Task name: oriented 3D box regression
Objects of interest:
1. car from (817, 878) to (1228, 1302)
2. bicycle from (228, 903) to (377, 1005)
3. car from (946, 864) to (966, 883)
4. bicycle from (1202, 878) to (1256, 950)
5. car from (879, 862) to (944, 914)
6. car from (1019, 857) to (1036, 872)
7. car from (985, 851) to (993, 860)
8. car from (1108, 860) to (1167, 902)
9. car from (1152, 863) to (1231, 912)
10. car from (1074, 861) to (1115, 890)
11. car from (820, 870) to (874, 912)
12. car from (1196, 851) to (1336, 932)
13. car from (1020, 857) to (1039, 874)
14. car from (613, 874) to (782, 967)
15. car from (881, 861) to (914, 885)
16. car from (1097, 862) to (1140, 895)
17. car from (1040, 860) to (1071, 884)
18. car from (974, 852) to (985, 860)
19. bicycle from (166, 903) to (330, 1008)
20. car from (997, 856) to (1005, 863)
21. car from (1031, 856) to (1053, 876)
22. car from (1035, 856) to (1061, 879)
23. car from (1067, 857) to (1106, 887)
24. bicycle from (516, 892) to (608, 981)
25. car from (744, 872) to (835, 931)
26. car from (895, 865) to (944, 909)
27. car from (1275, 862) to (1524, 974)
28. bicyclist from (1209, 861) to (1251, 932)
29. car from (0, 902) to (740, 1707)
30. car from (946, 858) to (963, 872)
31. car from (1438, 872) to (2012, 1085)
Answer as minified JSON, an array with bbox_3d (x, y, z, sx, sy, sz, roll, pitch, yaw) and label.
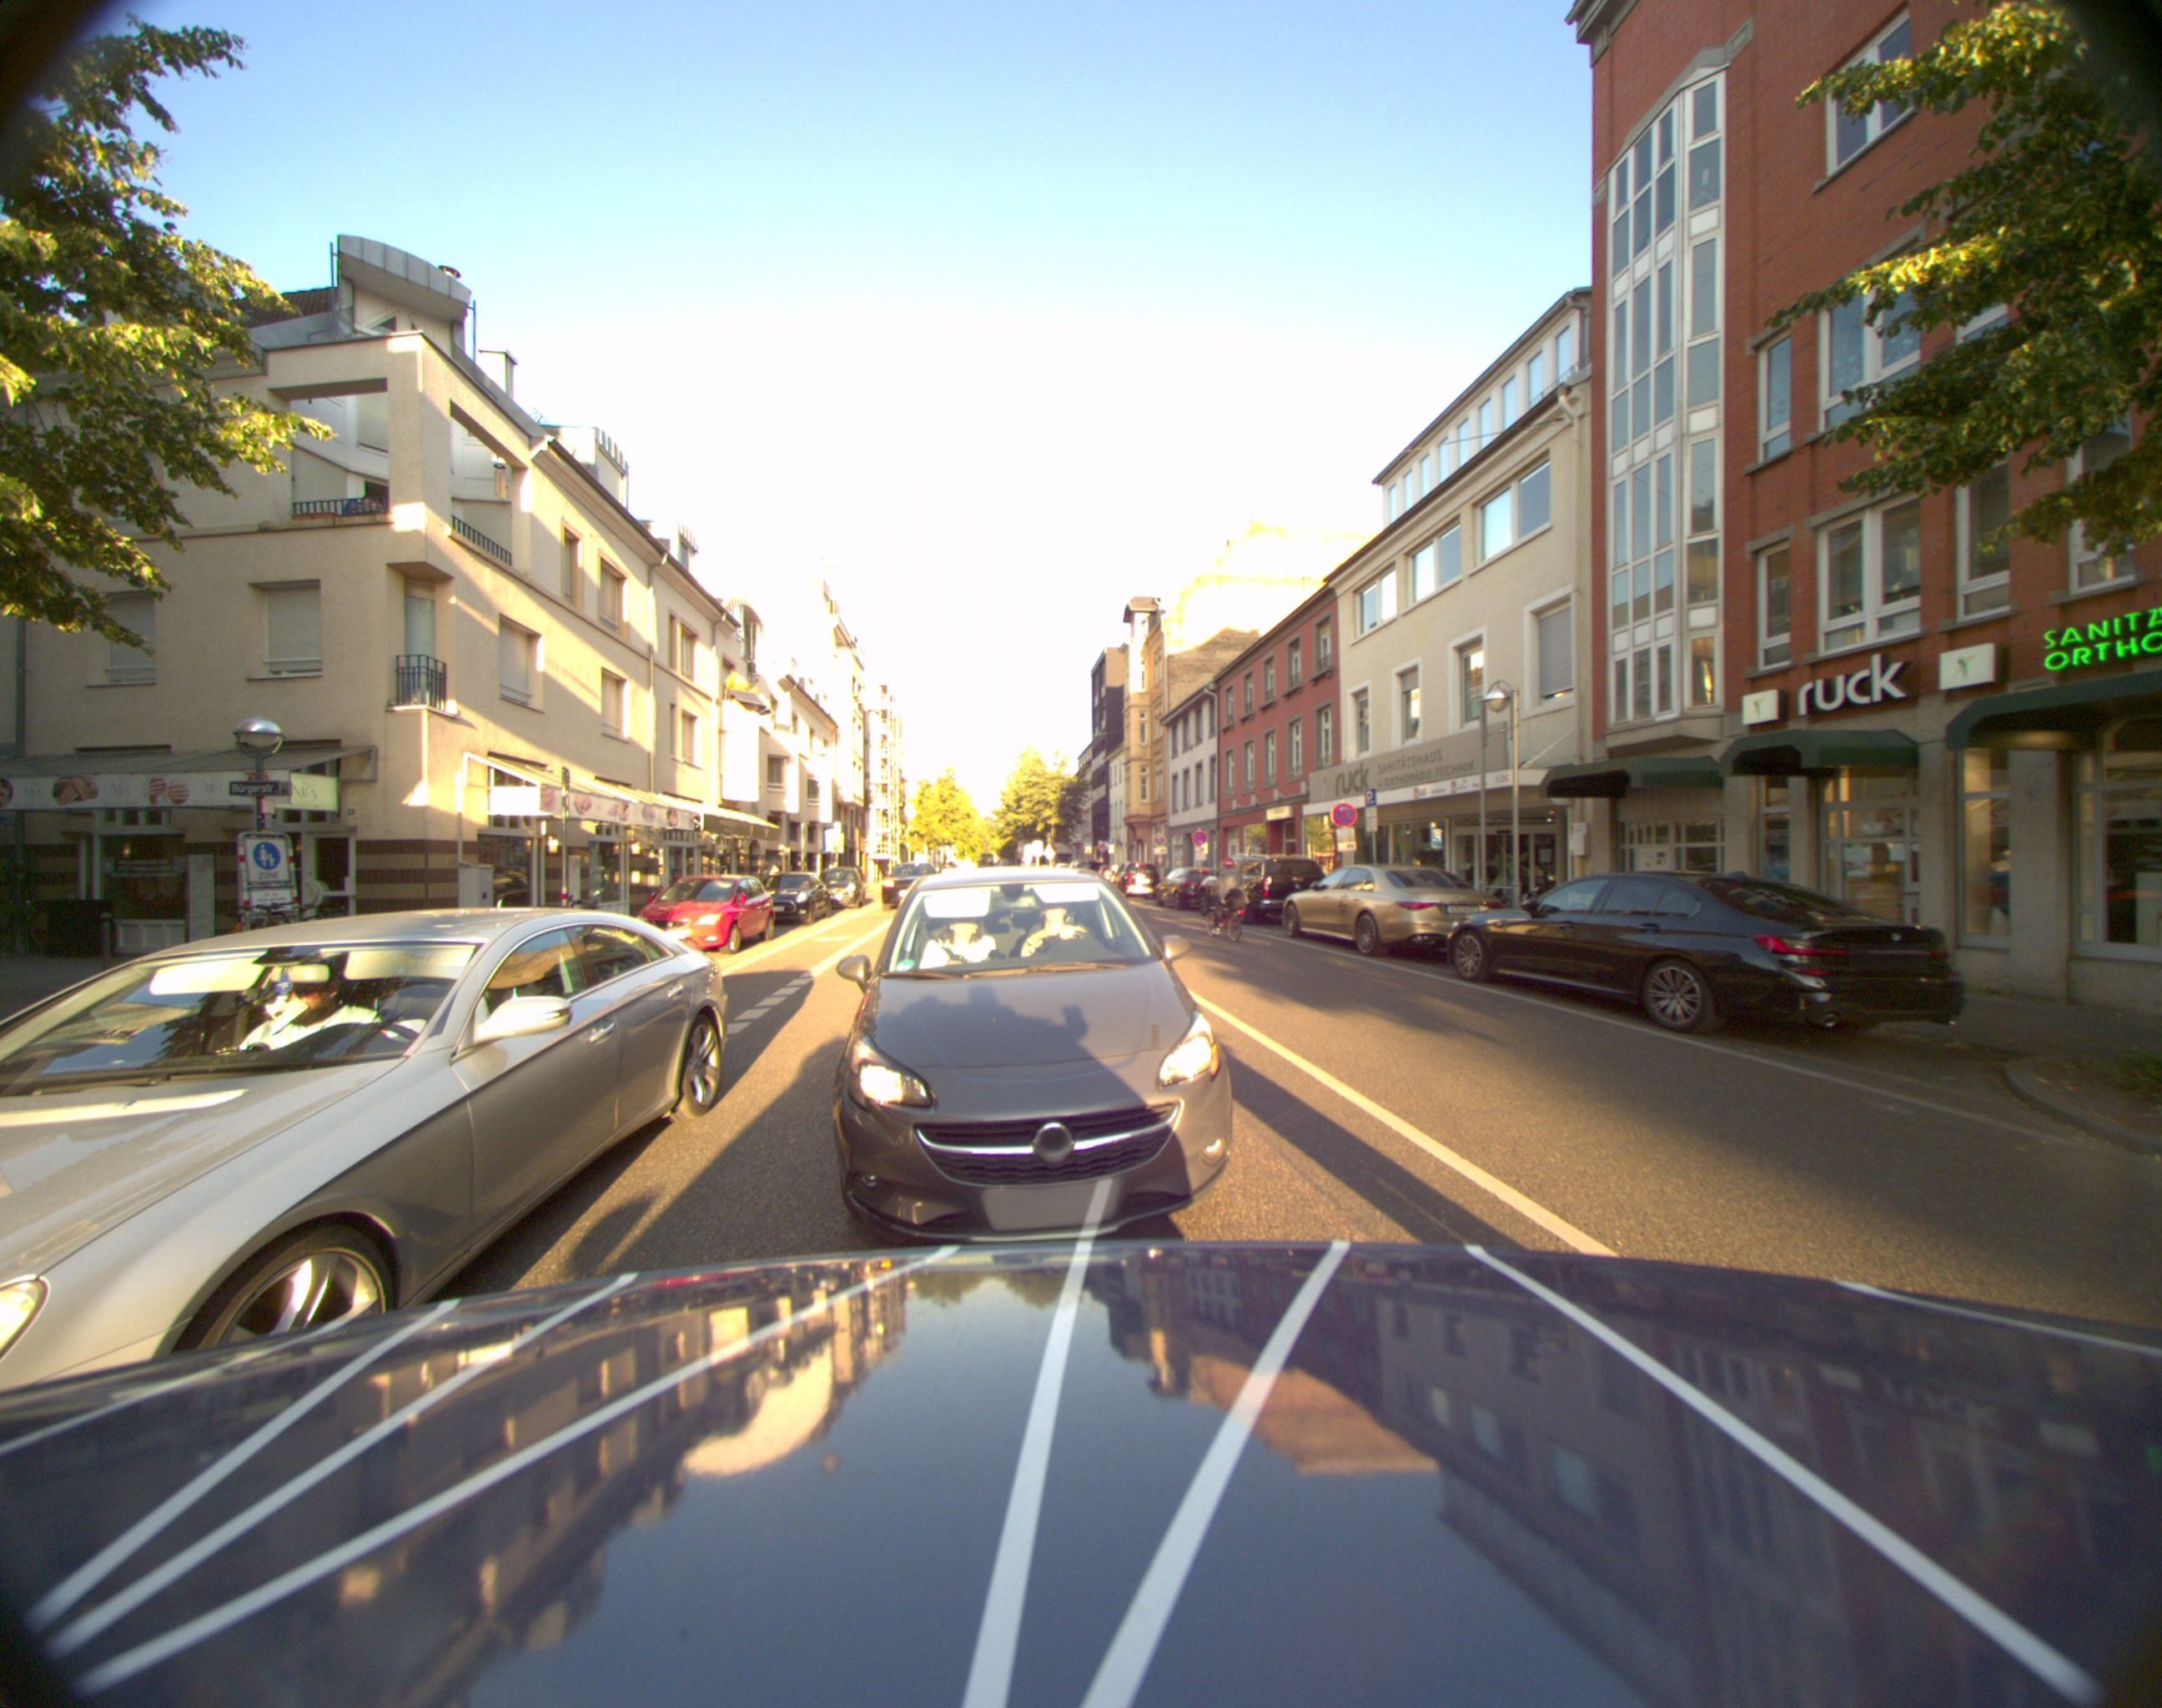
[{"bbox_3d":[-0.535,0.946,4.870,1.588,1.445,3.839,-1,0,-10],"label":"car"},{"bbox_3d":[-10.482,1.290,10.327,0.332,1.123,2.010,0,0,-11],"label":"bicycle"},{"bbox_3d":[-11.839,1.803,72.025,1.693,1.644,3.731,-2,1,-8],"label":"car"},{"bbox_3d":[2.825,1.109,14.640,0.421,1.230,1.693,-2,1,-10],"label":"bicycle"},{"bbox_3d":[-5.949,1.139,27.080,1.897,1.632,3.747,-1,0,-8],"label":"car"},{"bbox_3d":[-6.352,1.213,90.106,1.766,1.762,3.870,0,0,-7],"label":"car"},{"bbox_3d":[-19.355,0.316,159.806,1.673,1.630,3.253,-2,1,-7],"label":"car"},{"bbox_3d":[2.518,1.173,34.894,1.877,1.718,4.137,-1,0,-8],"label":"car"},{"bbox_3d":[3.733,1.094,26.352,1.737,1.515,3.840,0,0,-7],"label":"car"},{"bbox_3d":[0.716,1.226,43.785,1.792,1.504,3.775,-1,1,-8],"label":"car"},{"bbox_3d":[-8.835,1.354,28.870,1.432,1.442,3.378,-1,0,-8],"label":"car"},{"bbox_3d":[4.728,0.925,20.319,1.974,1.873,4.944,-1,-1,-8],"label":"car"},{"bbox_3d":[-5.482,1.162,80.588,1.788,1.762,3.870,0,0,-7],"label":"car"},{"bbox_3d":[-7.226,1.176,14.794,1.654,1.420,3.997,-2,0,-8],"label":"car"},{"bbox_3d":[-12.499,1.261,51.843,1.766,1.563,3.870,0,0,-7],"label":"car"},{"bbox_3d":[1.941,1.227,40.021,1.686,1.580,3.514,-1,1,-7],"label":"car"},{"bbox_3d":[-1.853,1.264,54.853,1.796,1.606,3.970,-2,1,-7],"label":"car"},{"bbox_3d":[-19.382,0.408,145.206,1.616,1.463,3.225,-2,1,-2],"label":"car"},{"bbox_3d":[-11.086,1.295,10.208,0.332,1.123,2.010,-1,1,-11],"label":"bicycle"},{"bbox_3d":[-20.938,1.475,198.785,1.846,1.796,3.582,-2,1,-2],"label":"car"},{"bbox_3d":[-3.727,1.111,72.046,1.766,1.762,3.870,0,0,-7],"label":"car"},{"bbox_3d":[-2.706,1.061,61.395,1.766,1.762,3.870,0,0,-7],"label":"car"},{"bbox_3d":[0.308,1.094,48.006,1.882,1.667,4.034,-2,1,-8],"label":"car"},{"bbox_3d":[-8.225,1.261,12.115,0.505,1.230,1.711,0,0,-8],"label":"bicycle"},{"bbox_3d":[-8.143,1.267,21.554,1.615,1.386,3.692,-2,0,-9],"label":"car"},{"bbox_3d":[-6.571,1.292,31.237,1.692,1.534,3.728,-2,1,-9],"label":"car"},{"bbox_3d":[5.259,0.951,13.449,1.896,1.590,4.942,0,0,-6],"label":"car"},{"bbox_3d":[2.836,0.796,14.510,0.569,1.295,0.660,-2,1,-9],"label":"bicyclist"},{"bbox_3d":[-3.033,1.059,2.930,1.791,1.361,4.570,-2,1,-7],"label":"car"},{"bbox_3d":[-15.049,1.329,90.454,1.766,1.622,3.870,0,0,-7],"label":"car"},{"bbox_3d":[5.858,0.956,7.822,1.805,1.385,4.414,-1,1,-9],"label":"car"}]
